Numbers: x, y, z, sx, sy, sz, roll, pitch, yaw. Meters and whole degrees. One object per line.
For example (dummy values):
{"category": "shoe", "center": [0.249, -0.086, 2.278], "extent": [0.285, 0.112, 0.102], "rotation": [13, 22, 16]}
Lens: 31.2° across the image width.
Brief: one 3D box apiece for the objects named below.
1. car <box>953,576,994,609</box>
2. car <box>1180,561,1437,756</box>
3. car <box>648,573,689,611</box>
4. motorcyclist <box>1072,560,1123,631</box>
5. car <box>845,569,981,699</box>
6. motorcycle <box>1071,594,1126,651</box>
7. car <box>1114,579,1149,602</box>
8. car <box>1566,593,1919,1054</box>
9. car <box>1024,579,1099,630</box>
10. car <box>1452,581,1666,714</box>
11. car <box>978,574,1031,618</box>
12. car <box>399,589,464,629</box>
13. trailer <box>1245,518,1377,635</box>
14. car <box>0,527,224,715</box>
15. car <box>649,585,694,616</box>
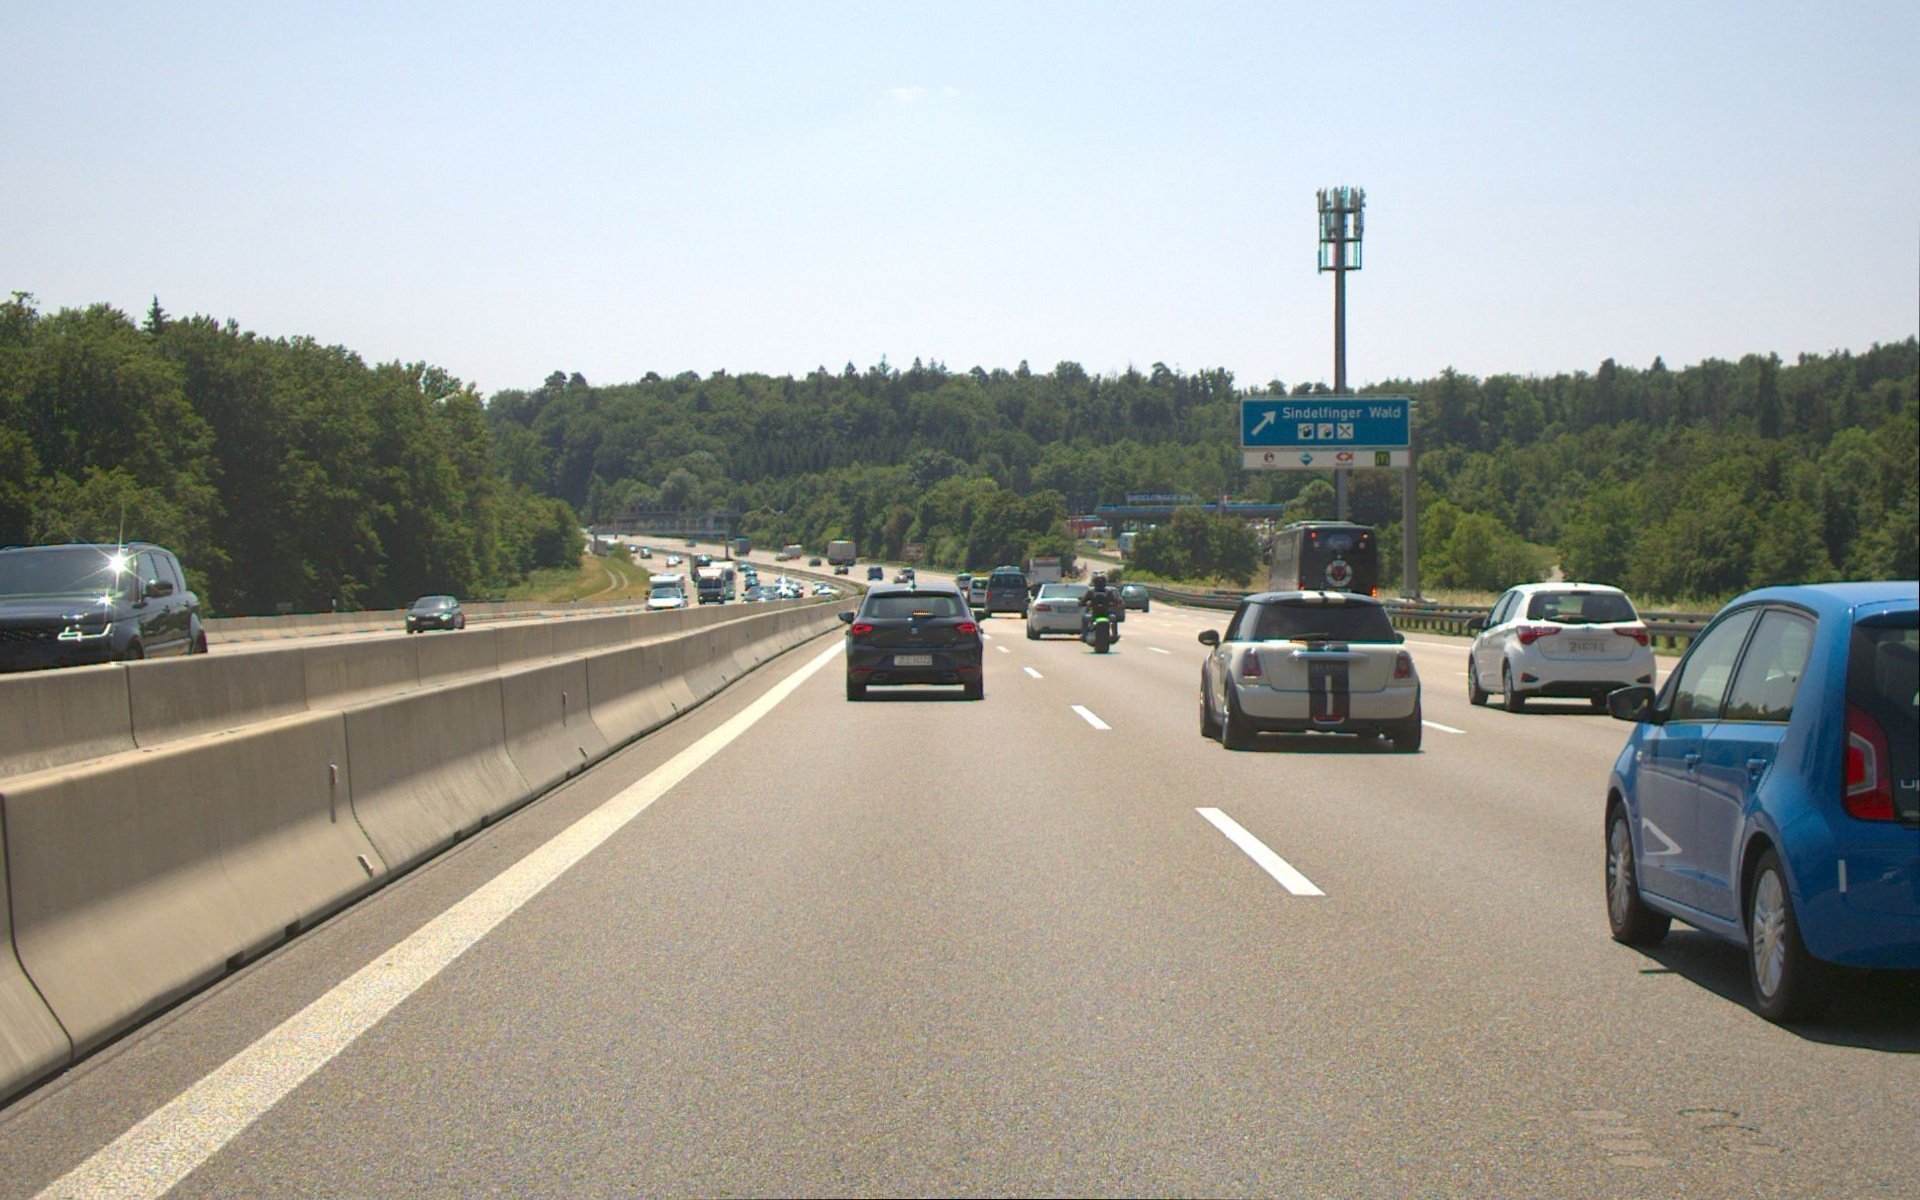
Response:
{"category": "car", "center": [0.716, -0.407, 185.971], "extent": [1.993, 1.678, 4.424], "rotation": [1, 1, -2]}
{"category": "car", "center": [3.073, 0.501, 31.048], "extent": [1.841, 1.547, 4.000], "rotation": [3, 0, 0]}
{"category": "car", "center": [-21.095, -0.601, 249.141], "extent": [2.221, 2.650, 8.175], "rotation": [-2, 0, 0]}
{"category": "motorcyclist", "center": [2.857, -0.104, 71.337], "extent": [0.962, 1.433, 1.235], "rotation": [-2, 1, 0]}
{"category": "car", "center": [-0.581, 0.398, 43.393], "extent": [1.624, 1.482, 3.685], "rotation": [1, 2, 0]}
{"category": "motorcycle", "center": [2.880, 0.451, 71.529], "extent": [0.977, 1.125, 2.271], "rotation": [-1, 1, -1]}
{"category": "car", "center": [9.514, -0.514, 190.758], "extent": [1.608, 1.208, 3.460], "rotation": [-1, 0, -2]}
{"category": "car", "center": [3.459, 0.687, 12.627], "extent": [1.737, 1.406, 4.000], "rotation": [0, 0, 0]}
{"category": "car", "center": [2.603, 0.101, 88.863], "extent": [1.782, 1.261, 3.460], "rotation": [-1, 1, 0]}
{"category": "car", "center": [7.020, 0.522, 40.670], "extent": [1.666, 1.428, 4.376], "rotation": [-1, 1, -1]}
{"category": "car", "center": [1.915, -0.199, 149.077], "extent": [2.097, 1.845, 4.081], "rotation": [-1, 1, -1]}
{"category": "car", "center": [-20.485, 0.350, 133.418], "extent": [1.839, 1.436, 4.764], "rotation": [-2, 0, -1]}
{"category": "trailer", "center": [11.737, -0.727, 116.183], "extent": [2.857, 3.675, 13.542], "rotation": [-1, 0, -1]}
{"category": "car", "center": [-8.817, 0.187, 33.906], "extent": [1.993, 1.667, 5.281], "rotation": [-3, 1, -1]}
{"category": "car", "center": [-13.466, 0.002, 160.594], "extent": [1.838, 1.436, 4.000], "rotation": [0, 0, -1]}
